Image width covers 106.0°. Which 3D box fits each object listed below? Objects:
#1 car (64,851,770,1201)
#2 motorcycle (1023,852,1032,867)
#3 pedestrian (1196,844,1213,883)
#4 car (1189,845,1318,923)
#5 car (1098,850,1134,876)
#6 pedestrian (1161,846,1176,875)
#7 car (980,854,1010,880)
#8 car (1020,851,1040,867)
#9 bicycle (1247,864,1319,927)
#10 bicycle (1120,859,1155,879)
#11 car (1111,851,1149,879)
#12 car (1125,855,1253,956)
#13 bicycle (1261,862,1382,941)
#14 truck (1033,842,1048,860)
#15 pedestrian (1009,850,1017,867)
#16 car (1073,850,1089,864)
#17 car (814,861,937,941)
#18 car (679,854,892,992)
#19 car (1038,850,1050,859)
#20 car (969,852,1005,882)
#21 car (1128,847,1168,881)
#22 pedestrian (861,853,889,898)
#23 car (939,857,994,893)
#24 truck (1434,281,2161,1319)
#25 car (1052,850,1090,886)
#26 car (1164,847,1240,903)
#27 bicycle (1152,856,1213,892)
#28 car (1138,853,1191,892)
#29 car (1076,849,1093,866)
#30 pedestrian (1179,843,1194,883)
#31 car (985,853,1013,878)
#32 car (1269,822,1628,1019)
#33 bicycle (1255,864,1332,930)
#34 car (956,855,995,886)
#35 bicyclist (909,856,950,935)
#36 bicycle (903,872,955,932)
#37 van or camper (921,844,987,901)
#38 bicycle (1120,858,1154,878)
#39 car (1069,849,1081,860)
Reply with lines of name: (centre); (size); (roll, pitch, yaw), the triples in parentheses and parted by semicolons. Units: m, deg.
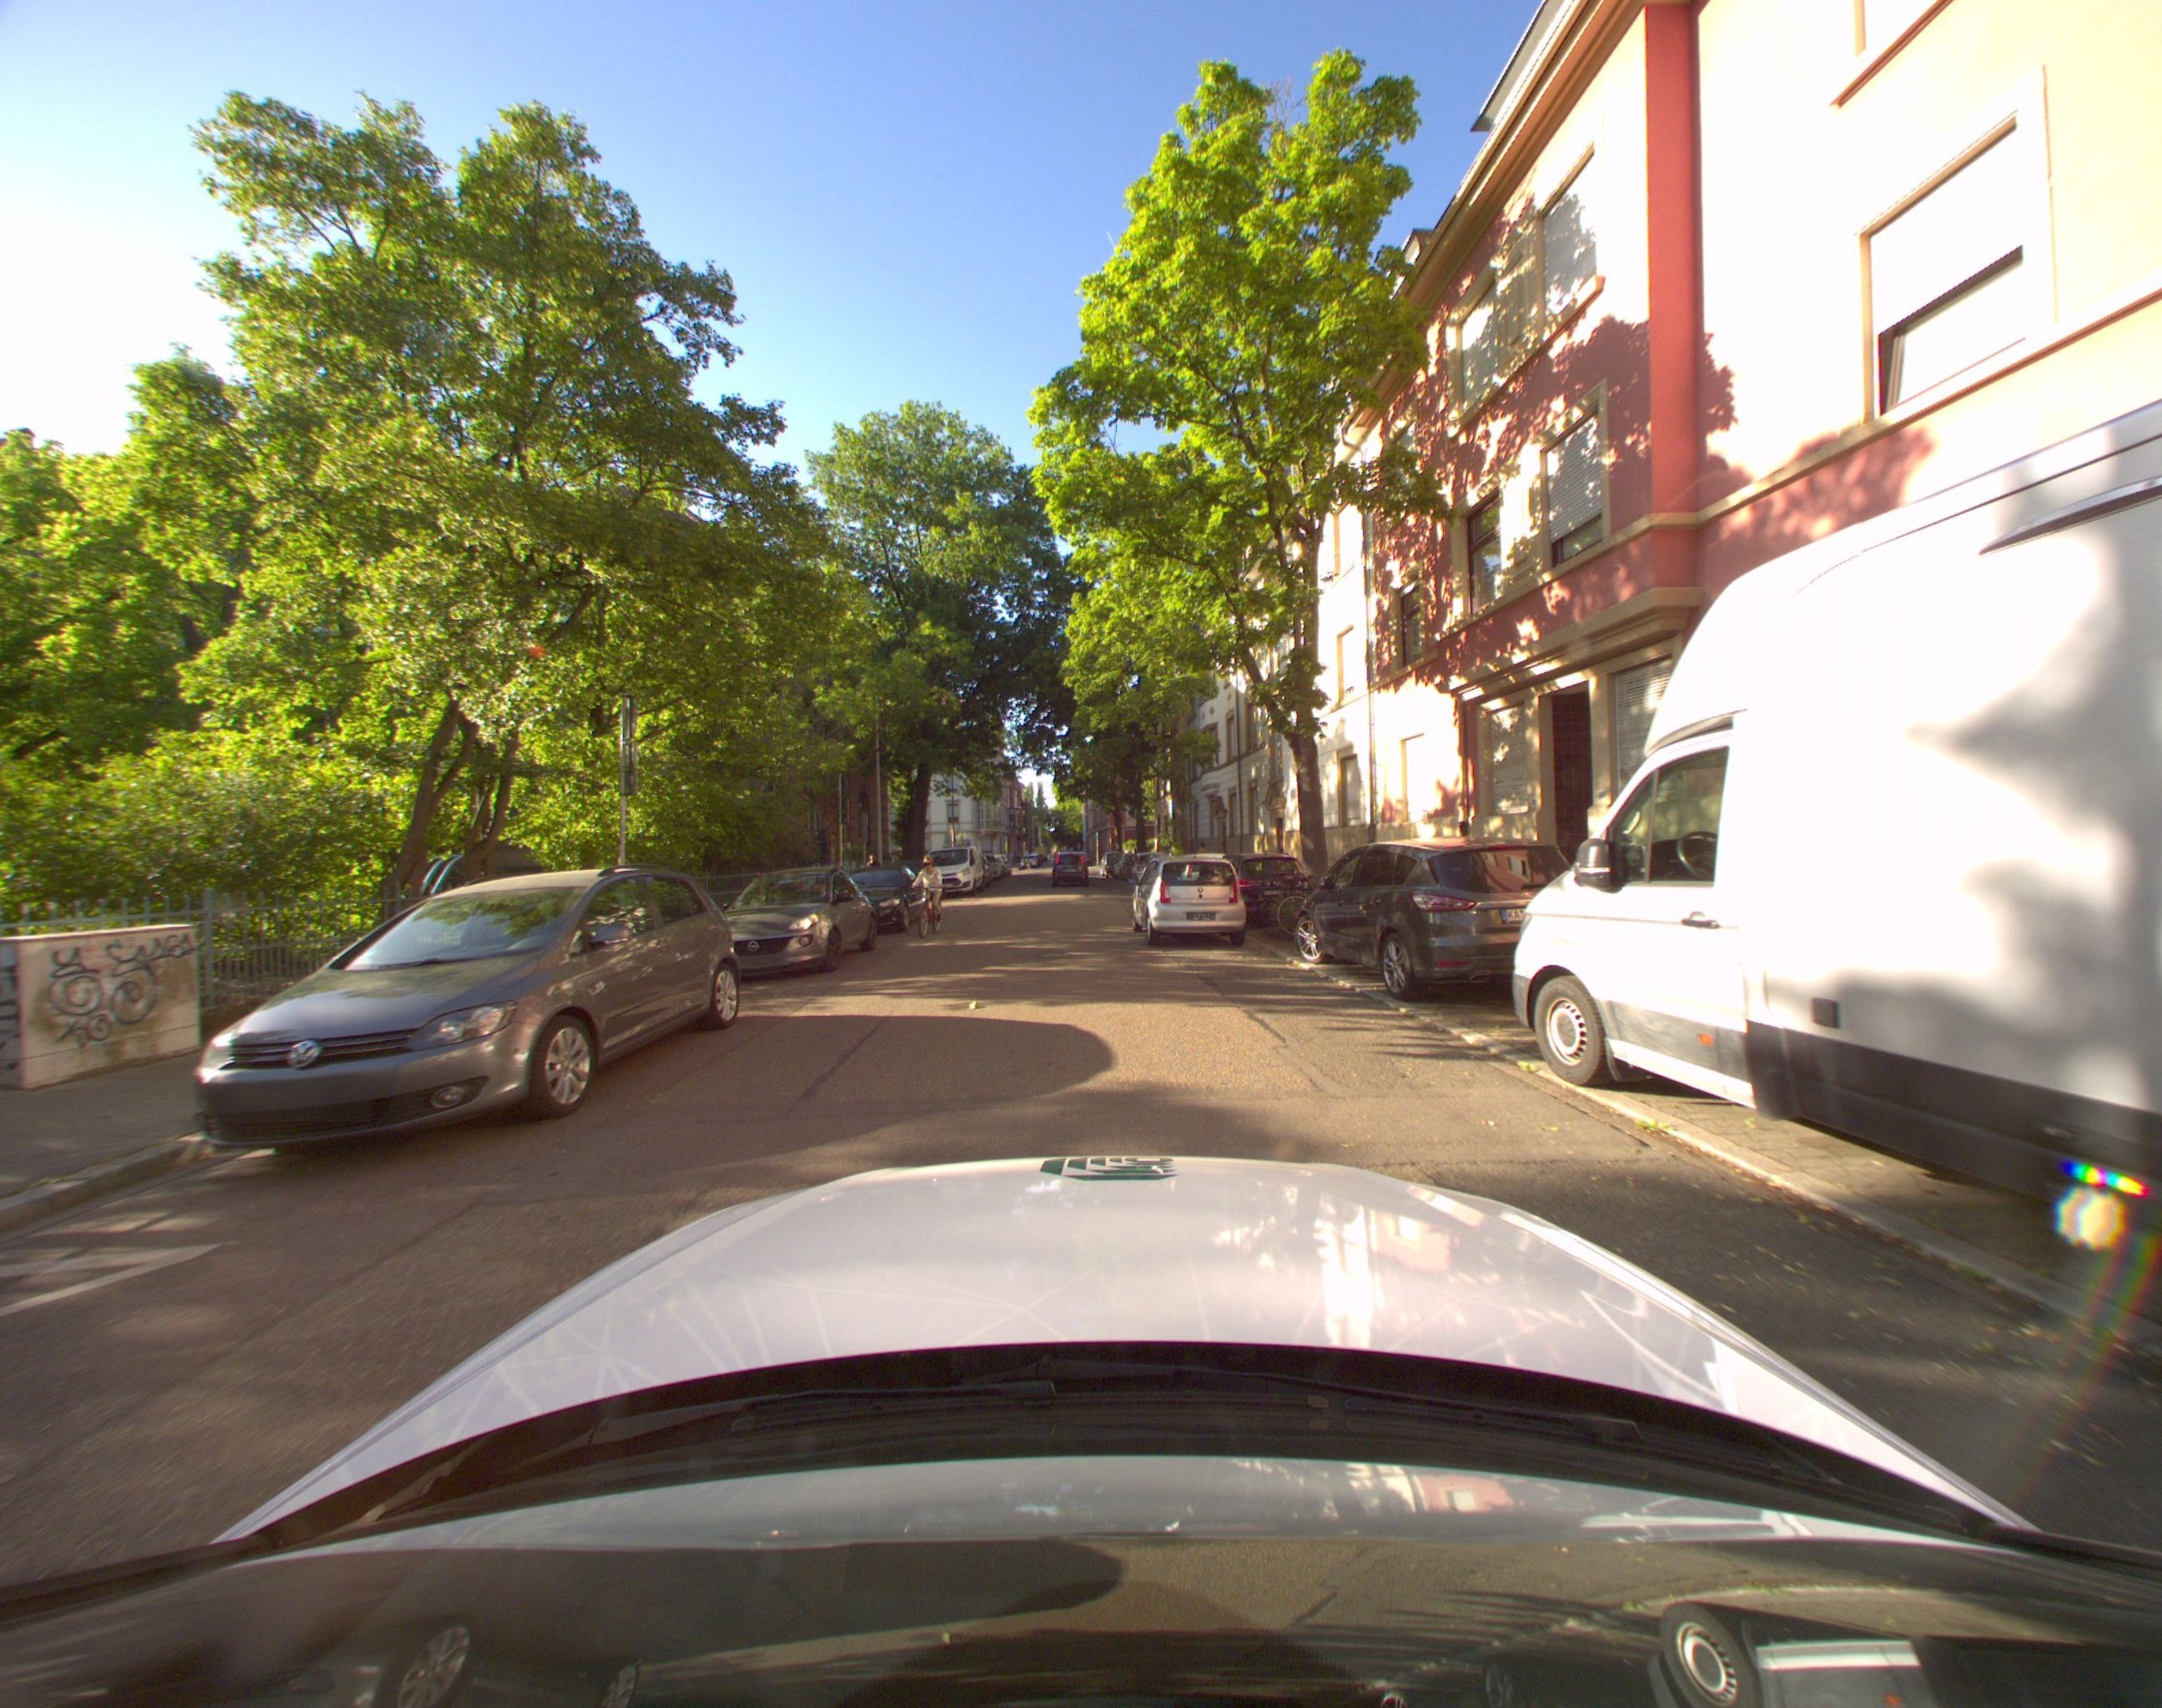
car: (-4.125, 0.834, 6.273); (1.776, 1.590, 4.465); (-4, 0, -2)
motorcycle: (-5.428, 0.508, 82.430); (0.697, 1.460, 1.744); (-3, 0, -11)
pedestrian: (5.430, 0.412, 35.835); (0.593, 1.701, 0.688); (-1, 0, 0)
car: (3.697, 0.576, 18.293); (1.782, 1.513, 4.455); (-1, 0, -3)
car: (2.239, 0.564, 52.945); (1.786, 1.551, 4.403); (-2, 0, -4)
pedestrian: (5.176, 0.384, 48.073); (0.775, 1.694, 0.875); (-1, 0, 1)
car: (-5.729, 0.833, 53.910); (1.745, 1.474, 4.453); (-6, 1, -7)
car: (-5.378, 0.507, 85.729); (1.791, 1.431, 3.923); (-5, 1, -1)
bicycle: (3.680, 0.746, 14.855); (1.197, 1.075, 0.298); (-3, 0, -3)
bicycle: (2.988, 0.781, 42.846); (1.765, 1.039, 0.605); (-1, 0, -2)
car: (2.826, 0.597, 47.487); (1.608, 1.478, 3.862); (-2, 0, -6)
car: (1.833, 0.825, 14.893); (1.675, 1.544, 3.796); (-1, 0, -3)
bicycle: (4.047, 0.788, 13.765); (1.807, 1.167, 0.569); (-4, 0, -3)
truck: (-6.797, -0.526, 138.293); (2.064, 2.925, 5.066); (-6, 0, -1)
pedestrian: (-7.665, 0.496, 91.580); (0.718, 1.839, 0.628); (-1, 0, 9)
car: (0.026, 0.321, 87.977); (1.658, 1.505, 3.756); (-1, 0, -1)
car: (-4.548, 0.964, 18.761); (1.710, 1.395, 4.775); (-6, 0, -3)
car: (-4.251, 0.881, 12.474); (1.671, 1.572, 4.150); (-5, 1, -1)
car: (-6.991, 0.043, 153.552); (1.956, 1.479, 3.923); (-5, 1, -1)
car: (-5.622, 0.761, 49.015); (1.821, 1.554, 4.127); (-6, 0, -4)
car: (3.206, 0.456, 39.331); (1.516, 1.510, 3.542); (-2, 0, -1)
pedestrian: (-7.489, 0.771, 29.627); (0.878, 1.577, 0.529); (-1, 0, -1)
car: (-5.358, 0.947, 38.778); (1.995, 1.457, 4.603); (-4, 0, -2)
truck: (4.075, -0.189, 3.492); (2.069, 2.968, 6.103); (-4, 1, -3)
car: (-0.494, 0.598, 37.063); (1.628, 1.550, 3.262); (-1, 0, -2)
car: (3.561, 0.567, 24.510); (1.592, 1.488, 3.746); (-3, 0, -2)
bicycle: (3.507, 0.683, 28.124); (1.963, 1.073, 0.599); (-4, 0, -1)
car: (3.354, 0.712, 33.402); (1.618, 1.394, 4.155); (-2, 0, -1)
car: (0.313, 0.328, 83.494); (1.658, 1.669, 3.756); (-1, 0, -1)
pedestrian: (4.664, 0.409, 35.892); (0.518, 1.735, 0.878); (-1, 0, 0)
car: (-5.889, 0.822, 59.005); (1.692, 1.550, 3.916); (-5, 1, -2)
car: (3.942, 0.586, 9.899); (1.881, 1.716, 4.938); (-2, 0, -3)
bicycle: (3.964, 0.803, 15.214); (1.304, 1.140, 0.327); (-3, 0, -3)
car: (-5.593, 0.845, 43.672); (1.598, 1.459, 4.024); (-5, 1, -2)
bicyclist: (-2.982, 0.800, 16.093); (0.649, 1.509, 0.624); (-1, 0, 0)
bicycle: (-2.974, 0.919, 16.092); (0.662, 1.077, 1.685); (-1, 0, 1)
van or camper: (-5.081, 0.700, 33.272); (1.917, 1.979, 5.456); (-5, 0, -3)
bicycle: (3.018, 0.749, 44.069); (1.711, 0.949, 0.733); (-3, 0, -2)
car: (-0.790, 0.036, 112.625); (1.658, 1.505, 3.756); (-1, 0, -1)
